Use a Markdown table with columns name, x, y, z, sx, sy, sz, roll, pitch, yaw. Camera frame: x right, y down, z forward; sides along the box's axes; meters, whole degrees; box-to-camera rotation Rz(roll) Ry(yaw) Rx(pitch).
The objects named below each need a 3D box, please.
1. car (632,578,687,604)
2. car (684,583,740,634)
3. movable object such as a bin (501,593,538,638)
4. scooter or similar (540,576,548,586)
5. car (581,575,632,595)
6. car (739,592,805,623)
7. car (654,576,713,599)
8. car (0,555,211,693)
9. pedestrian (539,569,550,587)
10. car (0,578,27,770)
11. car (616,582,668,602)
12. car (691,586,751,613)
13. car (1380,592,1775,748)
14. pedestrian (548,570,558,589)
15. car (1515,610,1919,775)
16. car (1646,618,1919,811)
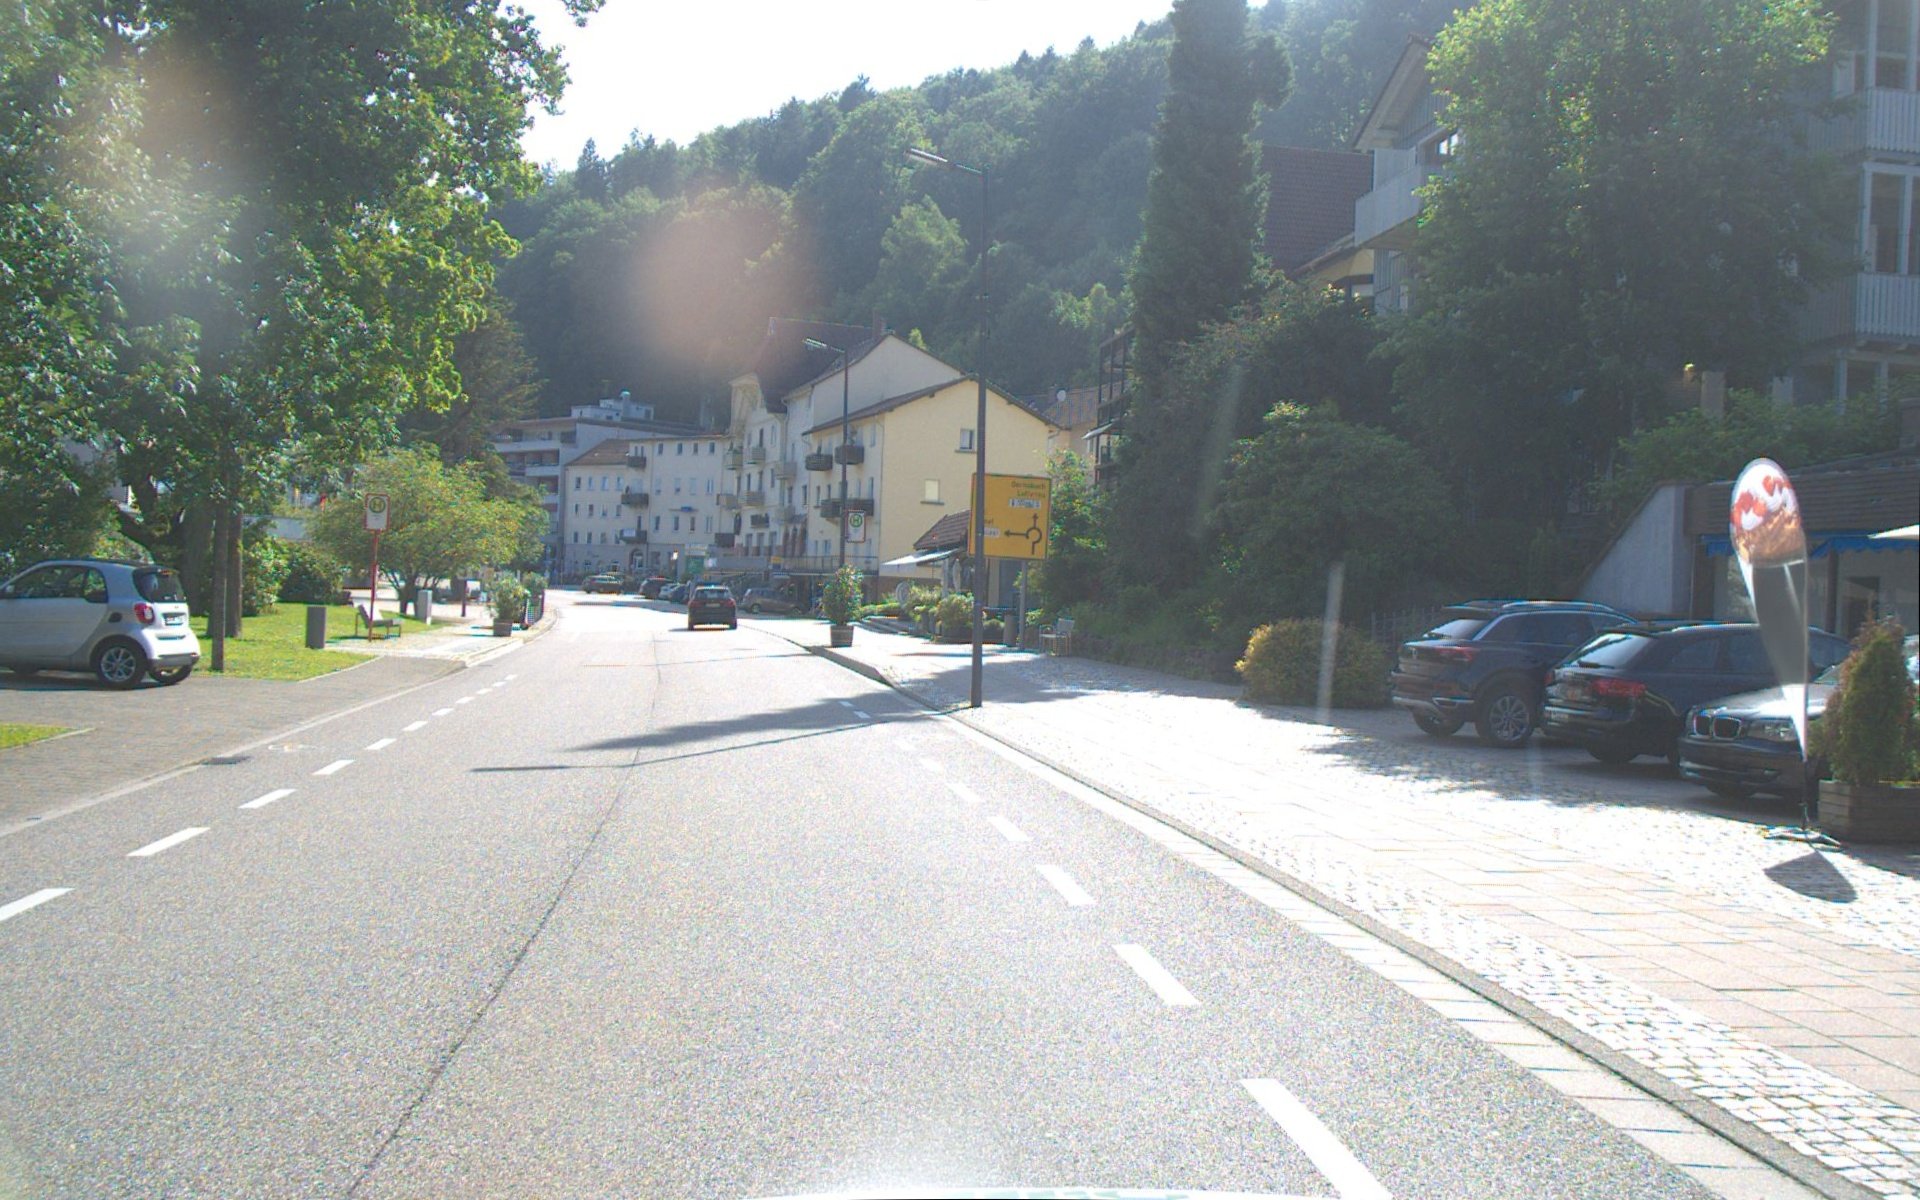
| name | x | y | z | sx | sy | sz | roll | pitch | yaw |
| --- | --- | --- | --- | --- | --- | --- | --- | --- | --- |
| car | -24.236 | -0.745 | 133.497 | 4.023 | 1.694 | 1.763 | 6 | -1 | -19 |
| car | -9.093 | 0.292 | 60.448 | 1.697 | 1.601 | 3.741 | 3 | 2 | -13 |
| movable object such as a bin | -15.128 | 0.520 | 56.860 | 1.060 | 1.452 | 1.372 | 4 | 0 | -13 |
| scooter or similar | -39.037 | -1.782 | 155.241 | 0.593 | 0.967 | 0.467 | 3 | 0 | -42 |
| car | -30.447 | -1.323 | 142.501 | 3.945 | 1.691 | 1.980 | 0 | 1 | -30 |
| car | -11.979 | 0.475 | 105.403 | 3.806 | 1.581 | 1.749 | 5 | -1 | -22 |
| car | -21.608 | -0.934 | 129.415 | 4.288 | 1.486 | 1.764 | 4 | -2 | -17 |
| car | -11.323 | 0.276 | 21.208 | 2.599 | 1.573 | 1.681 | 4 | -1 | -4 |
| pedestrian | -38.942 | -2.083 | 155.149 | 0.753 | 1.621 | 0.618 | 3 | 0 | -42 |
| car | -9.173 | 0.438 | 11.574 | 4.205 | 1.456 | 1.706 | 4 | -1 | -16 |
| car | -27.126 | -0.679 | 141.070 | 3.985 | 1.542 | 1.748 | -1 | 4 | -40 |
| car | -17.087 | -0.029 | 118.292 | 3.851 | 1.616 | 1.765 | 5 | 0 | -20 |
| car | 6.905 | 0.761 | 18.691 | 3.803 | 1.607 | 1.745 | 1 | 0 | -8 |
| pedestrian | -38.482 | -1.918 | 156.385 | 0.665 | 1.758 | 0.697 | 3 | 0 | -42 |
| car | 7.700 | 0.875 | 16.045 | 4.032 | 1.440 | 1.745 | 1 | 0 | -8 |
| car | 7.976 | 0.906 | 13.402 | 4.182 | 1.403 | 1.706 | 1 | 0 | -8 |
